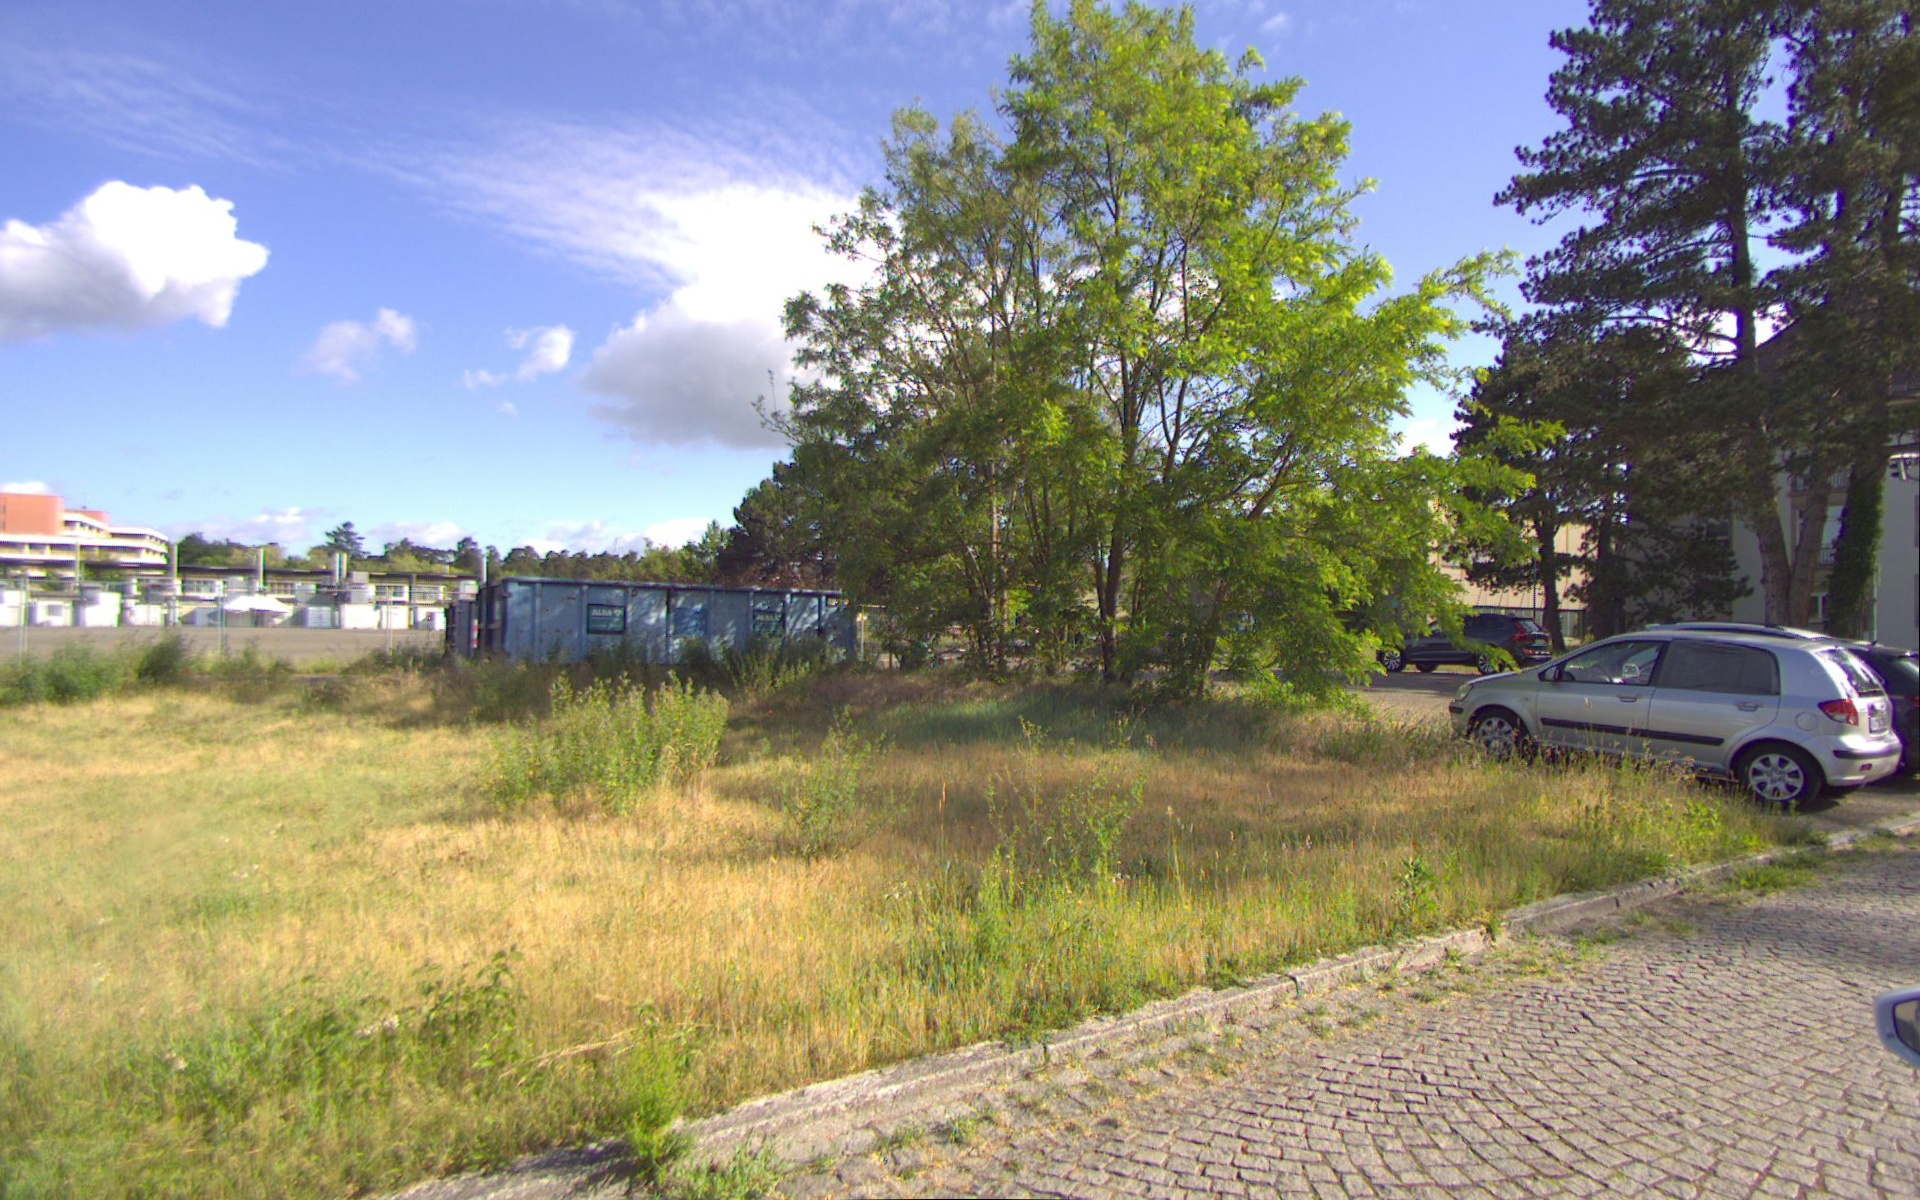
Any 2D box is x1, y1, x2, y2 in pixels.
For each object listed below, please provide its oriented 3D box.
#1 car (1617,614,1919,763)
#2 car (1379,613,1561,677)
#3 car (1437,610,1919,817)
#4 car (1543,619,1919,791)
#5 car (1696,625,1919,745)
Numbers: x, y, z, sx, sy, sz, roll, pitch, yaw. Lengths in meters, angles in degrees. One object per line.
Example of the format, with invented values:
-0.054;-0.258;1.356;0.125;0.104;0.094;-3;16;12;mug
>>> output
11.399;1.097;13.571;1.643;1.637;3.857;2;1;-33;car
14.056;1.198;27.927;1.987;1.630;4.123;1;-1;-31;car
7.093;0.971;10.242;1.682;1.548;3.662;2;1;-34;car
9.275;1.088;11.715;1.673;1.464;3.914;2;2;-33;car
13.605;1.235;14.891;1.750;1.516;3.972;1;1;-27;car
